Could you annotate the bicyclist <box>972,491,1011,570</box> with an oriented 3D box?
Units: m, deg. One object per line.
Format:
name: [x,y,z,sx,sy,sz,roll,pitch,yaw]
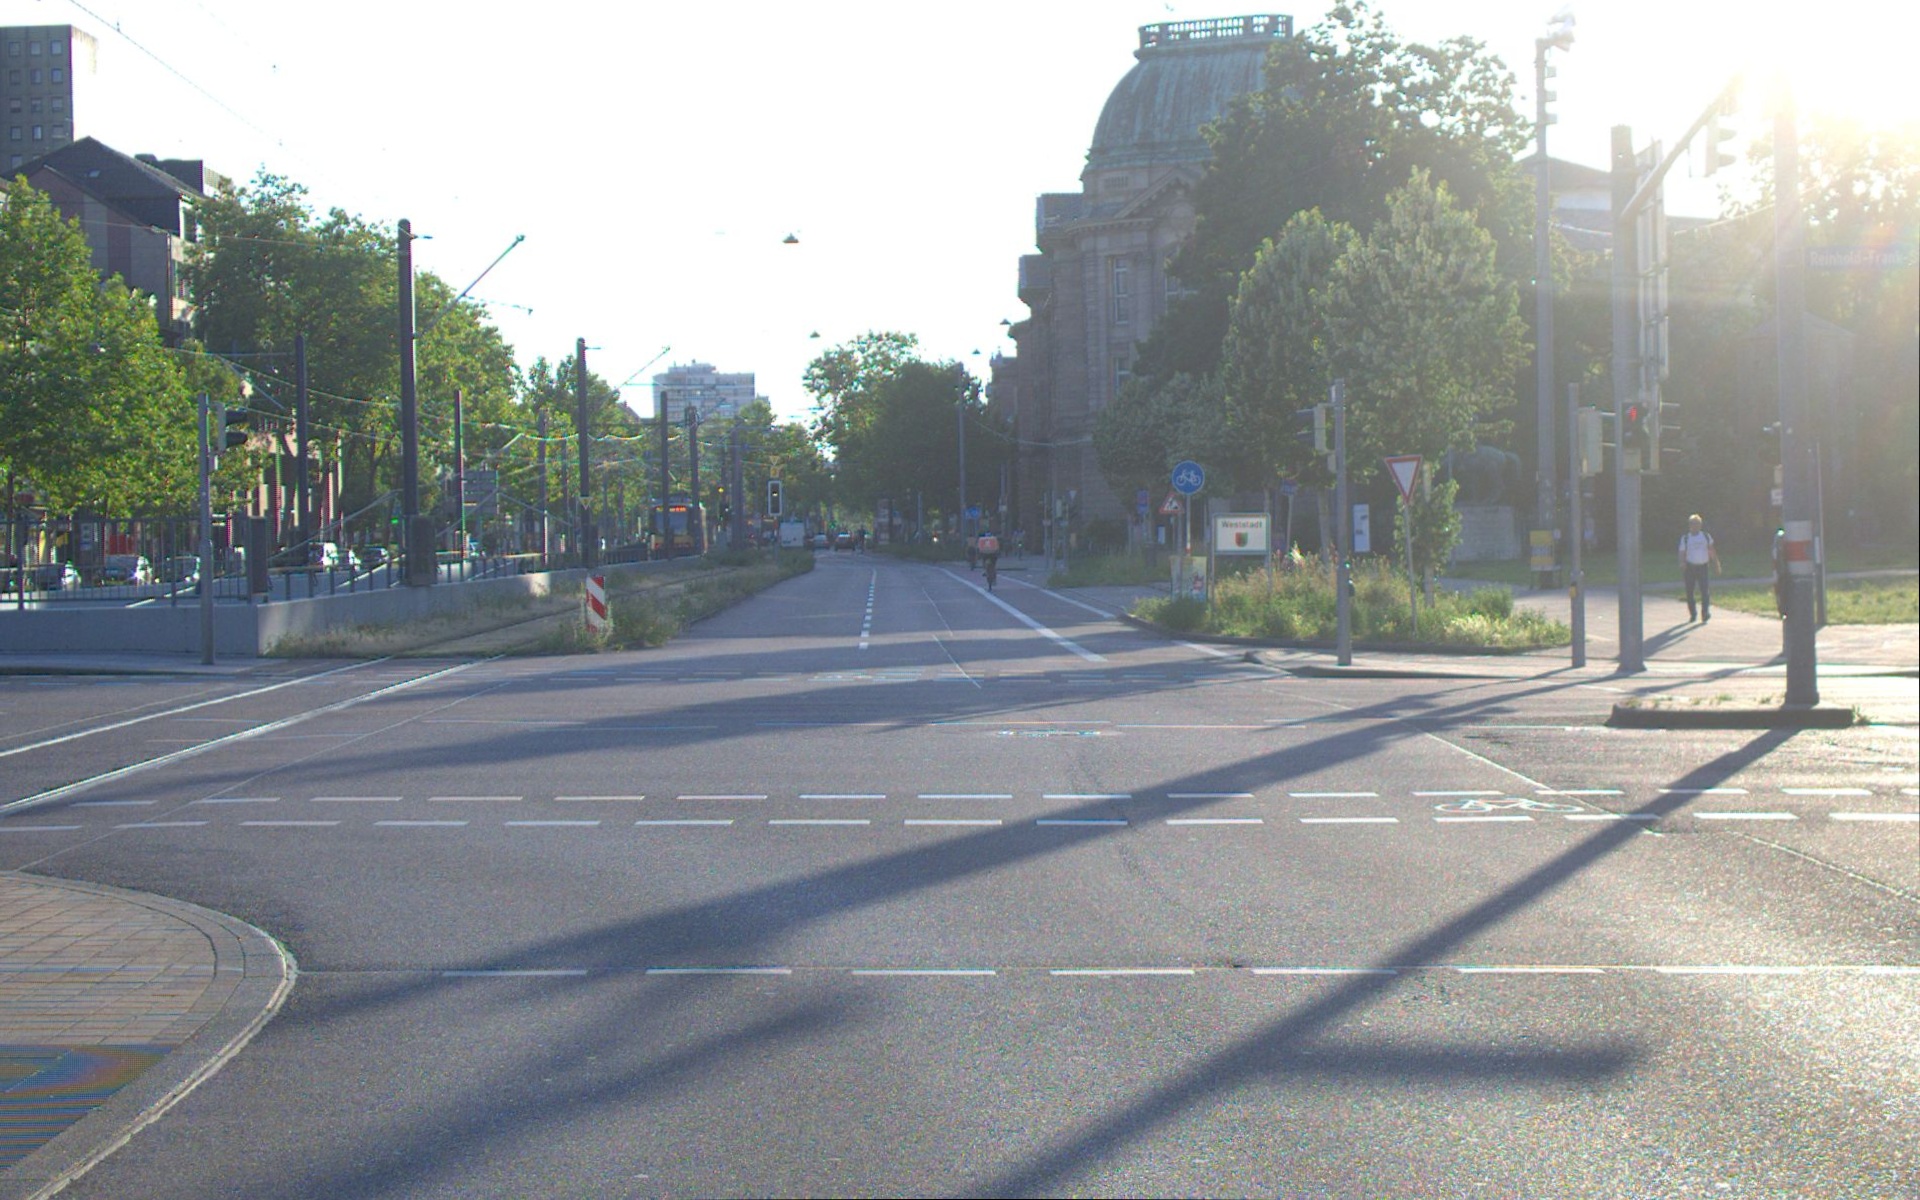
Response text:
bicyclist: [0.904,-1.997,98.680,1.082,2.268,0.986,0,1,-1]

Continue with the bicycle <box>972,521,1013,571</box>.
bicycle: [0.914,-1.544,98.707,1.098,1.394,2.832,-1,1,-1]

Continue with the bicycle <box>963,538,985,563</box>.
bicycle: [0.636,-2.213,153.952,0.924,1.108,2.333,-1,1,-1]

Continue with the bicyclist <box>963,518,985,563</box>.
bicyclist: [0.621,-2.649,154.035,0.925,2.007,0.850,-1,1,-1]

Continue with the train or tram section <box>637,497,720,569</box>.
train or tram section: [-15.702,-3.768,191.855,4.385,3.837,11.412,-1,1,-5]

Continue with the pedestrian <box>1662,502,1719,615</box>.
pedestrian: [11.749,-0.669,55.260,0.833,1.797,0.810,-1,1,15]

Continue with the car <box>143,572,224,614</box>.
car: [-28.348,-0.258,125.586,1.819,1.415,4.000,-1,1,3]
